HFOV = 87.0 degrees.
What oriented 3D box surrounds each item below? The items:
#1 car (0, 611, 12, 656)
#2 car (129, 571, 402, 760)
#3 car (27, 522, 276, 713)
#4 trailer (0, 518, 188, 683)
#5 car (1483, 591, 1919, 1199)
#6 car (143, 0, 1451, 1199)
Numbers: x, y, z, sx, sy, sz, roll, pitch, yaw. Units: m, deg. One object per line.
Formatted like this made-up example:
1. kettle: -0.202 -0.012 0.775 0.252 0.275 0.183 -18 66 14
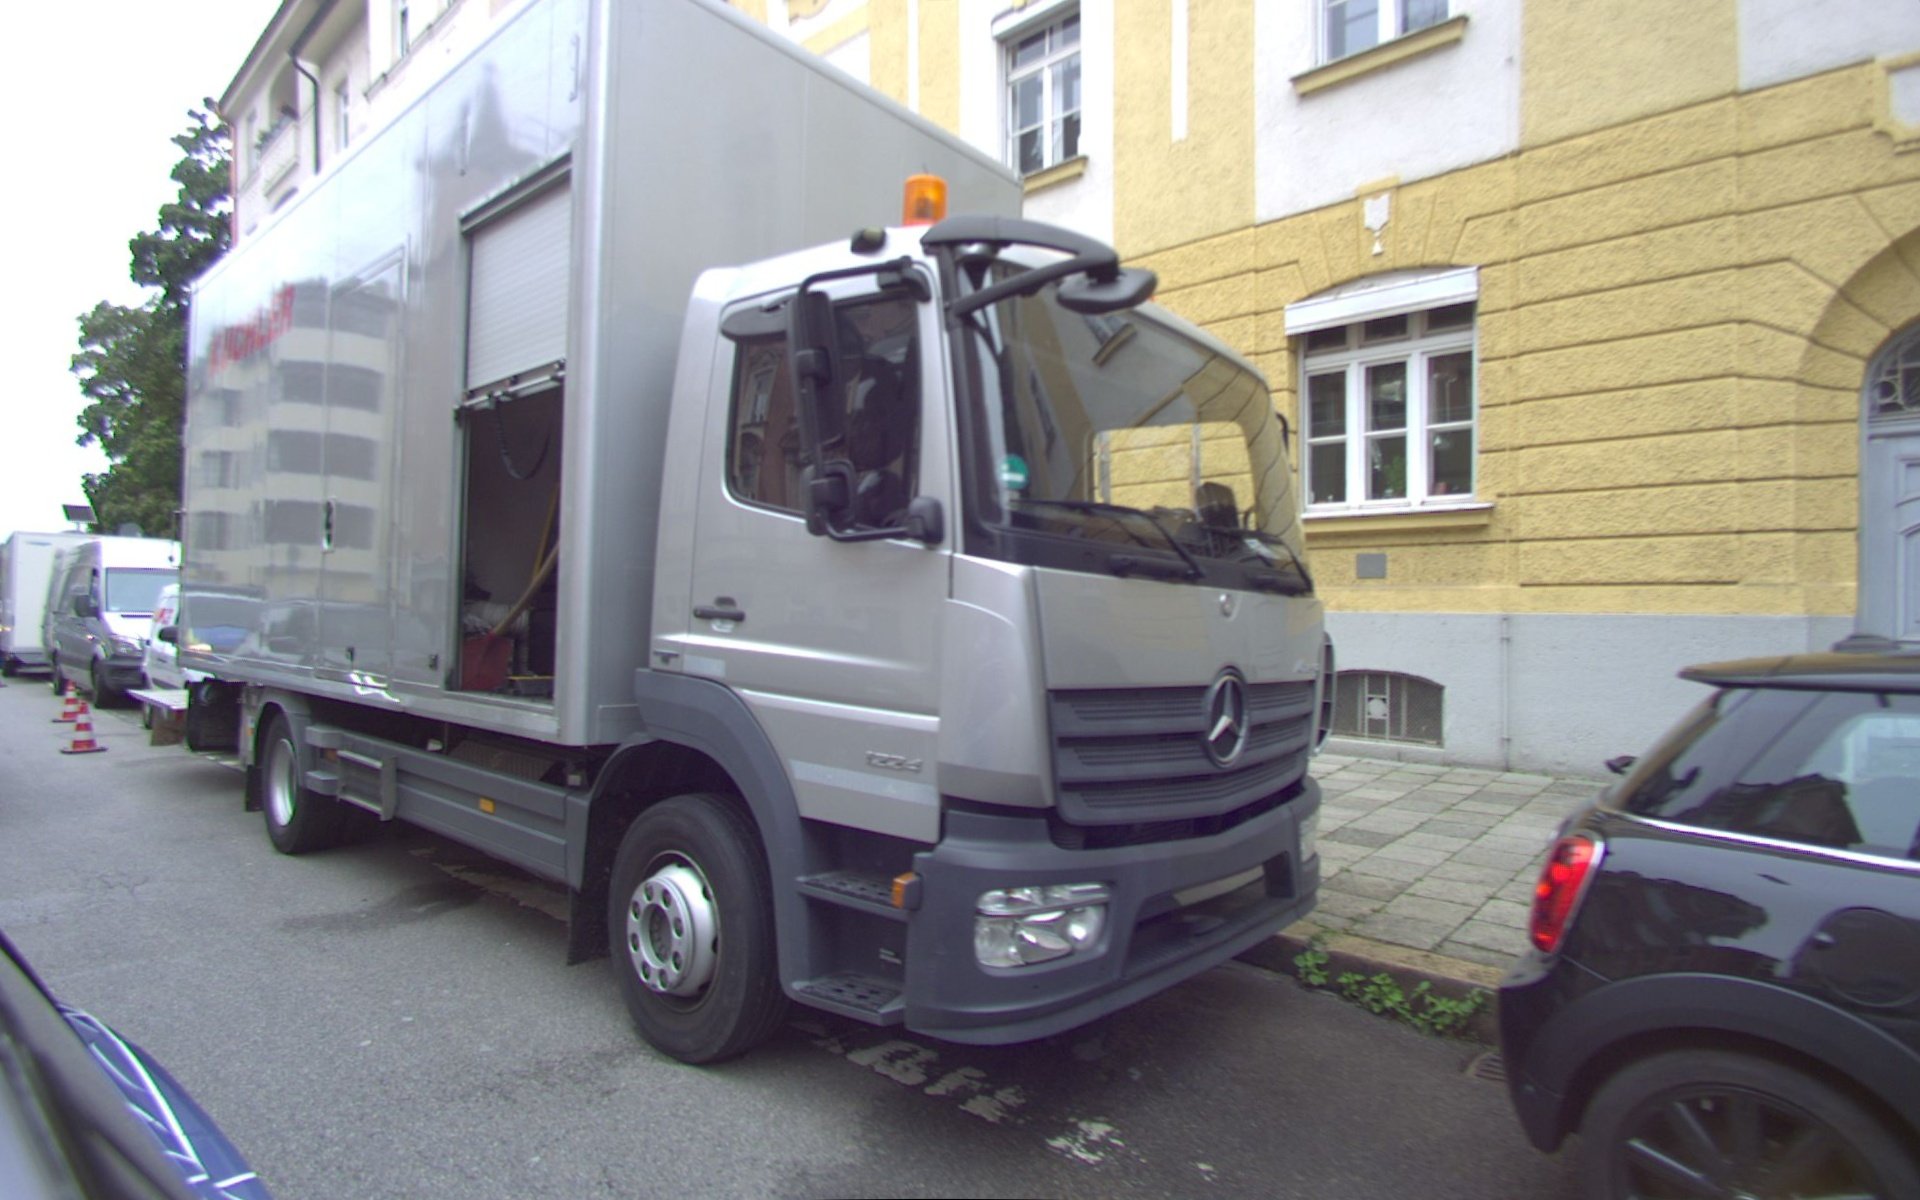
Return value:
1. car: -36.890 1.183 37.880 4.166 1.601 1.793 1 -4 45
2. car: -8.176 0.654 11.749 4.327 1.792 1.743 0 -2 44
3. car: -13.613 0.323 16.807 6.875 2.607 2.034 -1 -4 42
4. trailer: -19.135 0.140 21.884 7.603 2.992 2.771 -2 -4 45
5. car: 3.017 0.692 1.456 3.710 1.420 1.680 0 0 44
6. car: -2.191 -0.493 5.941 8.722 3.846 2.782 0 0 42
